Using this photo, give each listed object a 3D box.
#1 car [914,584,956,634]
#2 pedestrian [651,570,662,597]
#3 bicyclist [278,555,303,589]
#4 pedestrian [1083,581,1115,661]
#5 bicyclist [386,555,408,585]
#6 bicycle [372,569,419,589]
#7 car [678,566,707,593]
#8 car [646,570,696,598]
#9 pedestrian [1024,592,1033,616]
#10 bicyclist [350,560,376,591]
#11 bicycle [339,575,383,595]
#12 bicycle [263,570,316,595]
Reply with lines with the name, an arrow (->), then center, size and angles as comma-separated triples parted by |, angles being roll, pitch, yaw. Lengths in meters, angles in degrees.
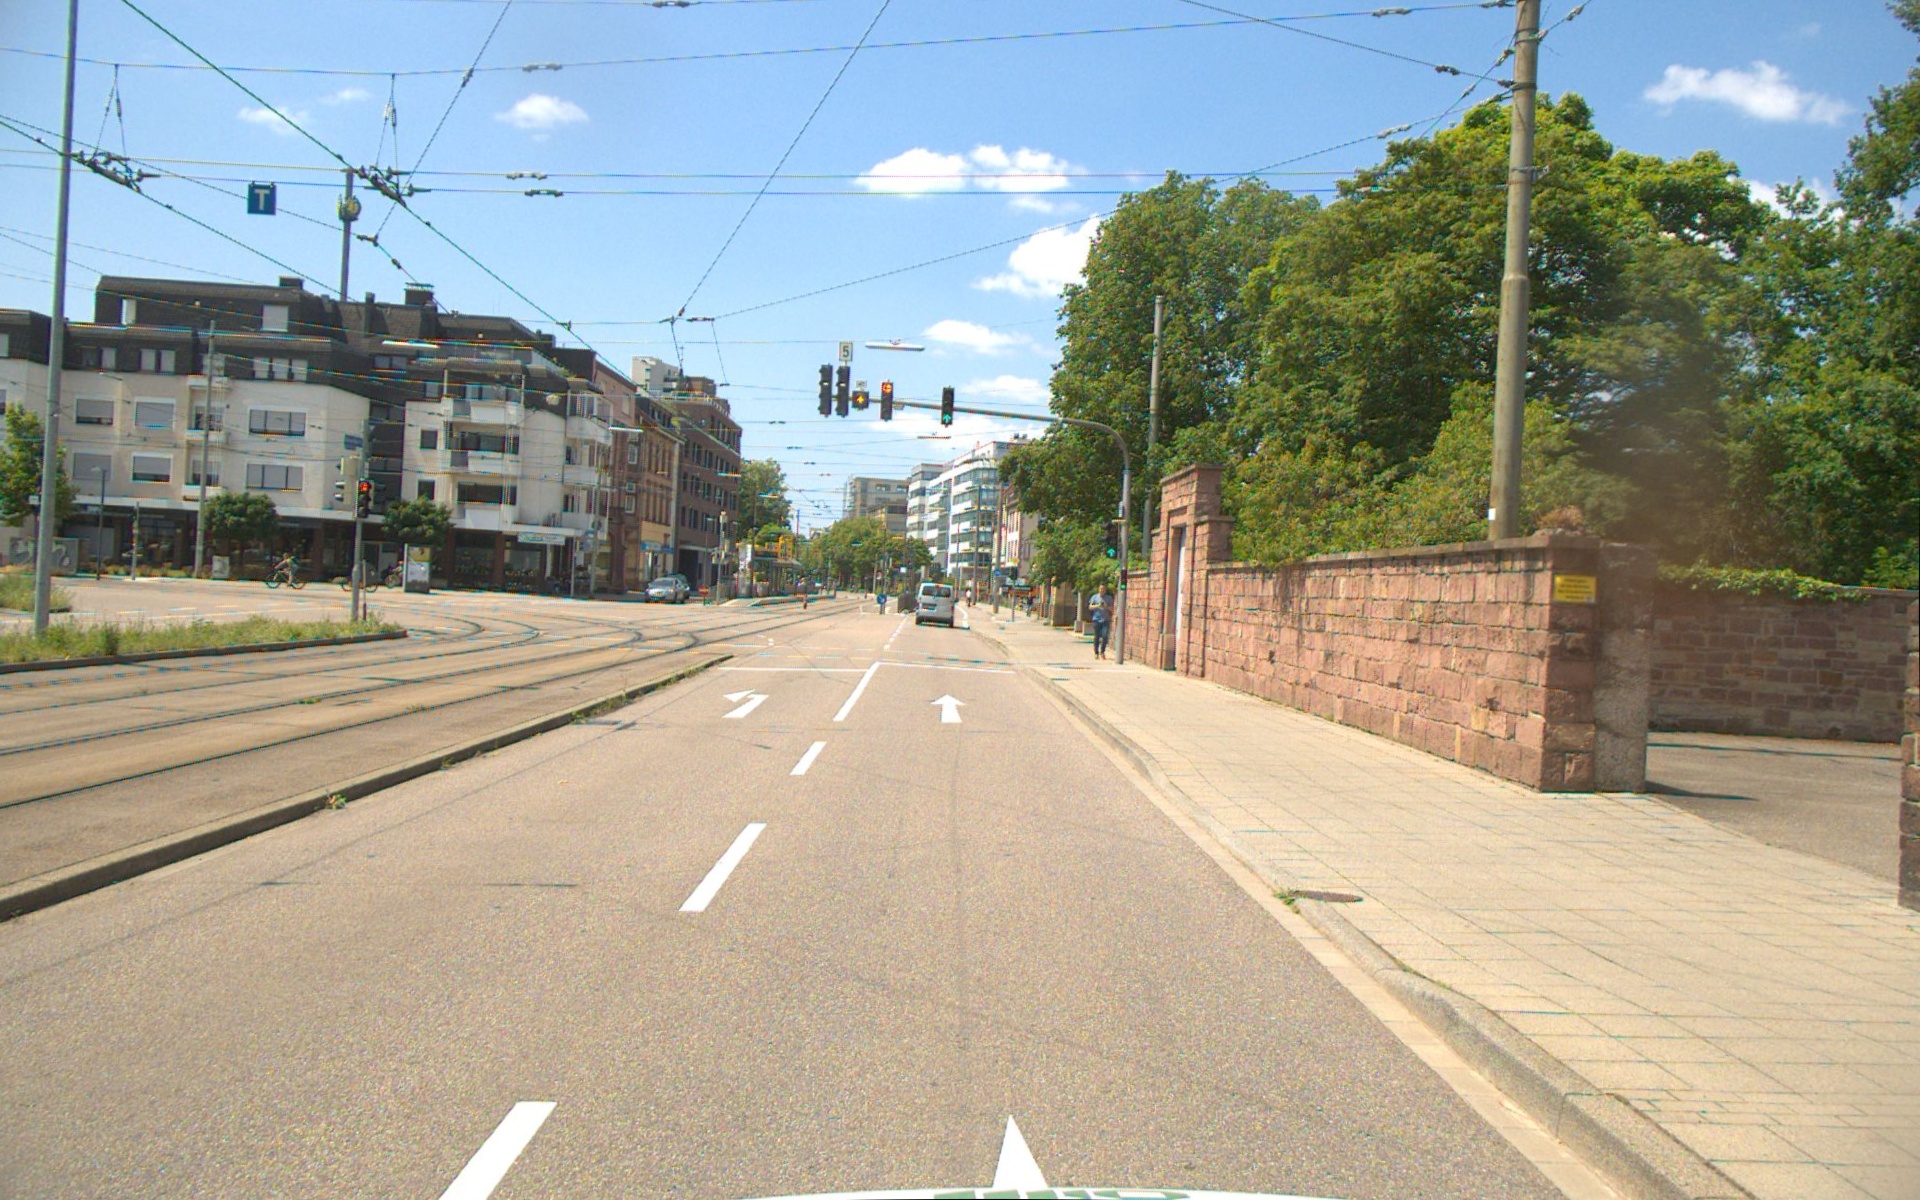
car -> -1.089, 0.371, 73.704 | 1.716, 2.048, 4.001 | 2, 1, 0
pedestrian -> -23.935, -1.289, 130.371 | 0.605, 2.049, 0.810 | 3, 0, -3
bicyclist -> -31.229, -1.300, 77.145 | 0.846, 1.513, 0.726 | 2, -1, -42
pedestrian -> 3.390, 0.509, 40.340 | 0.700, 1.884, 0.768 | 2, 0, 6
bicyclist -> -28.751, -1.510, 84.471 | 0.842, 1.494, 0.646 | 2, -1, -44
bicycle -> -28.815, -1.086, 84.425 | 0.660, 0.951, 2.242 | 0, -1, 44
car -> -18.610, -1.462, 115.219 | 1.691, 1.712, 4.273 | 3, 2, -7
car -> -16.803, -0.931, 96.202 | 1.952, 1.497, 4.402 | 3, 0, 2
pedestrian -> 4.537, 0.263, 109.103 | 0.565, 1.583, 0.786 | 1, -1, 2
bicyclist -> -28.668, -1.165, 79.387 | 0.617, 1.447, 0.962 | 1, -1, 32
bicycle -> -28.714, -0.722, 79.325 | 0.409, 0.896, 2.253 | 1, -1, 30
bicycle -> -31.245, -0.808, 77.140 | 2.237, 1.120, 0.509 | 2, -1, -41
